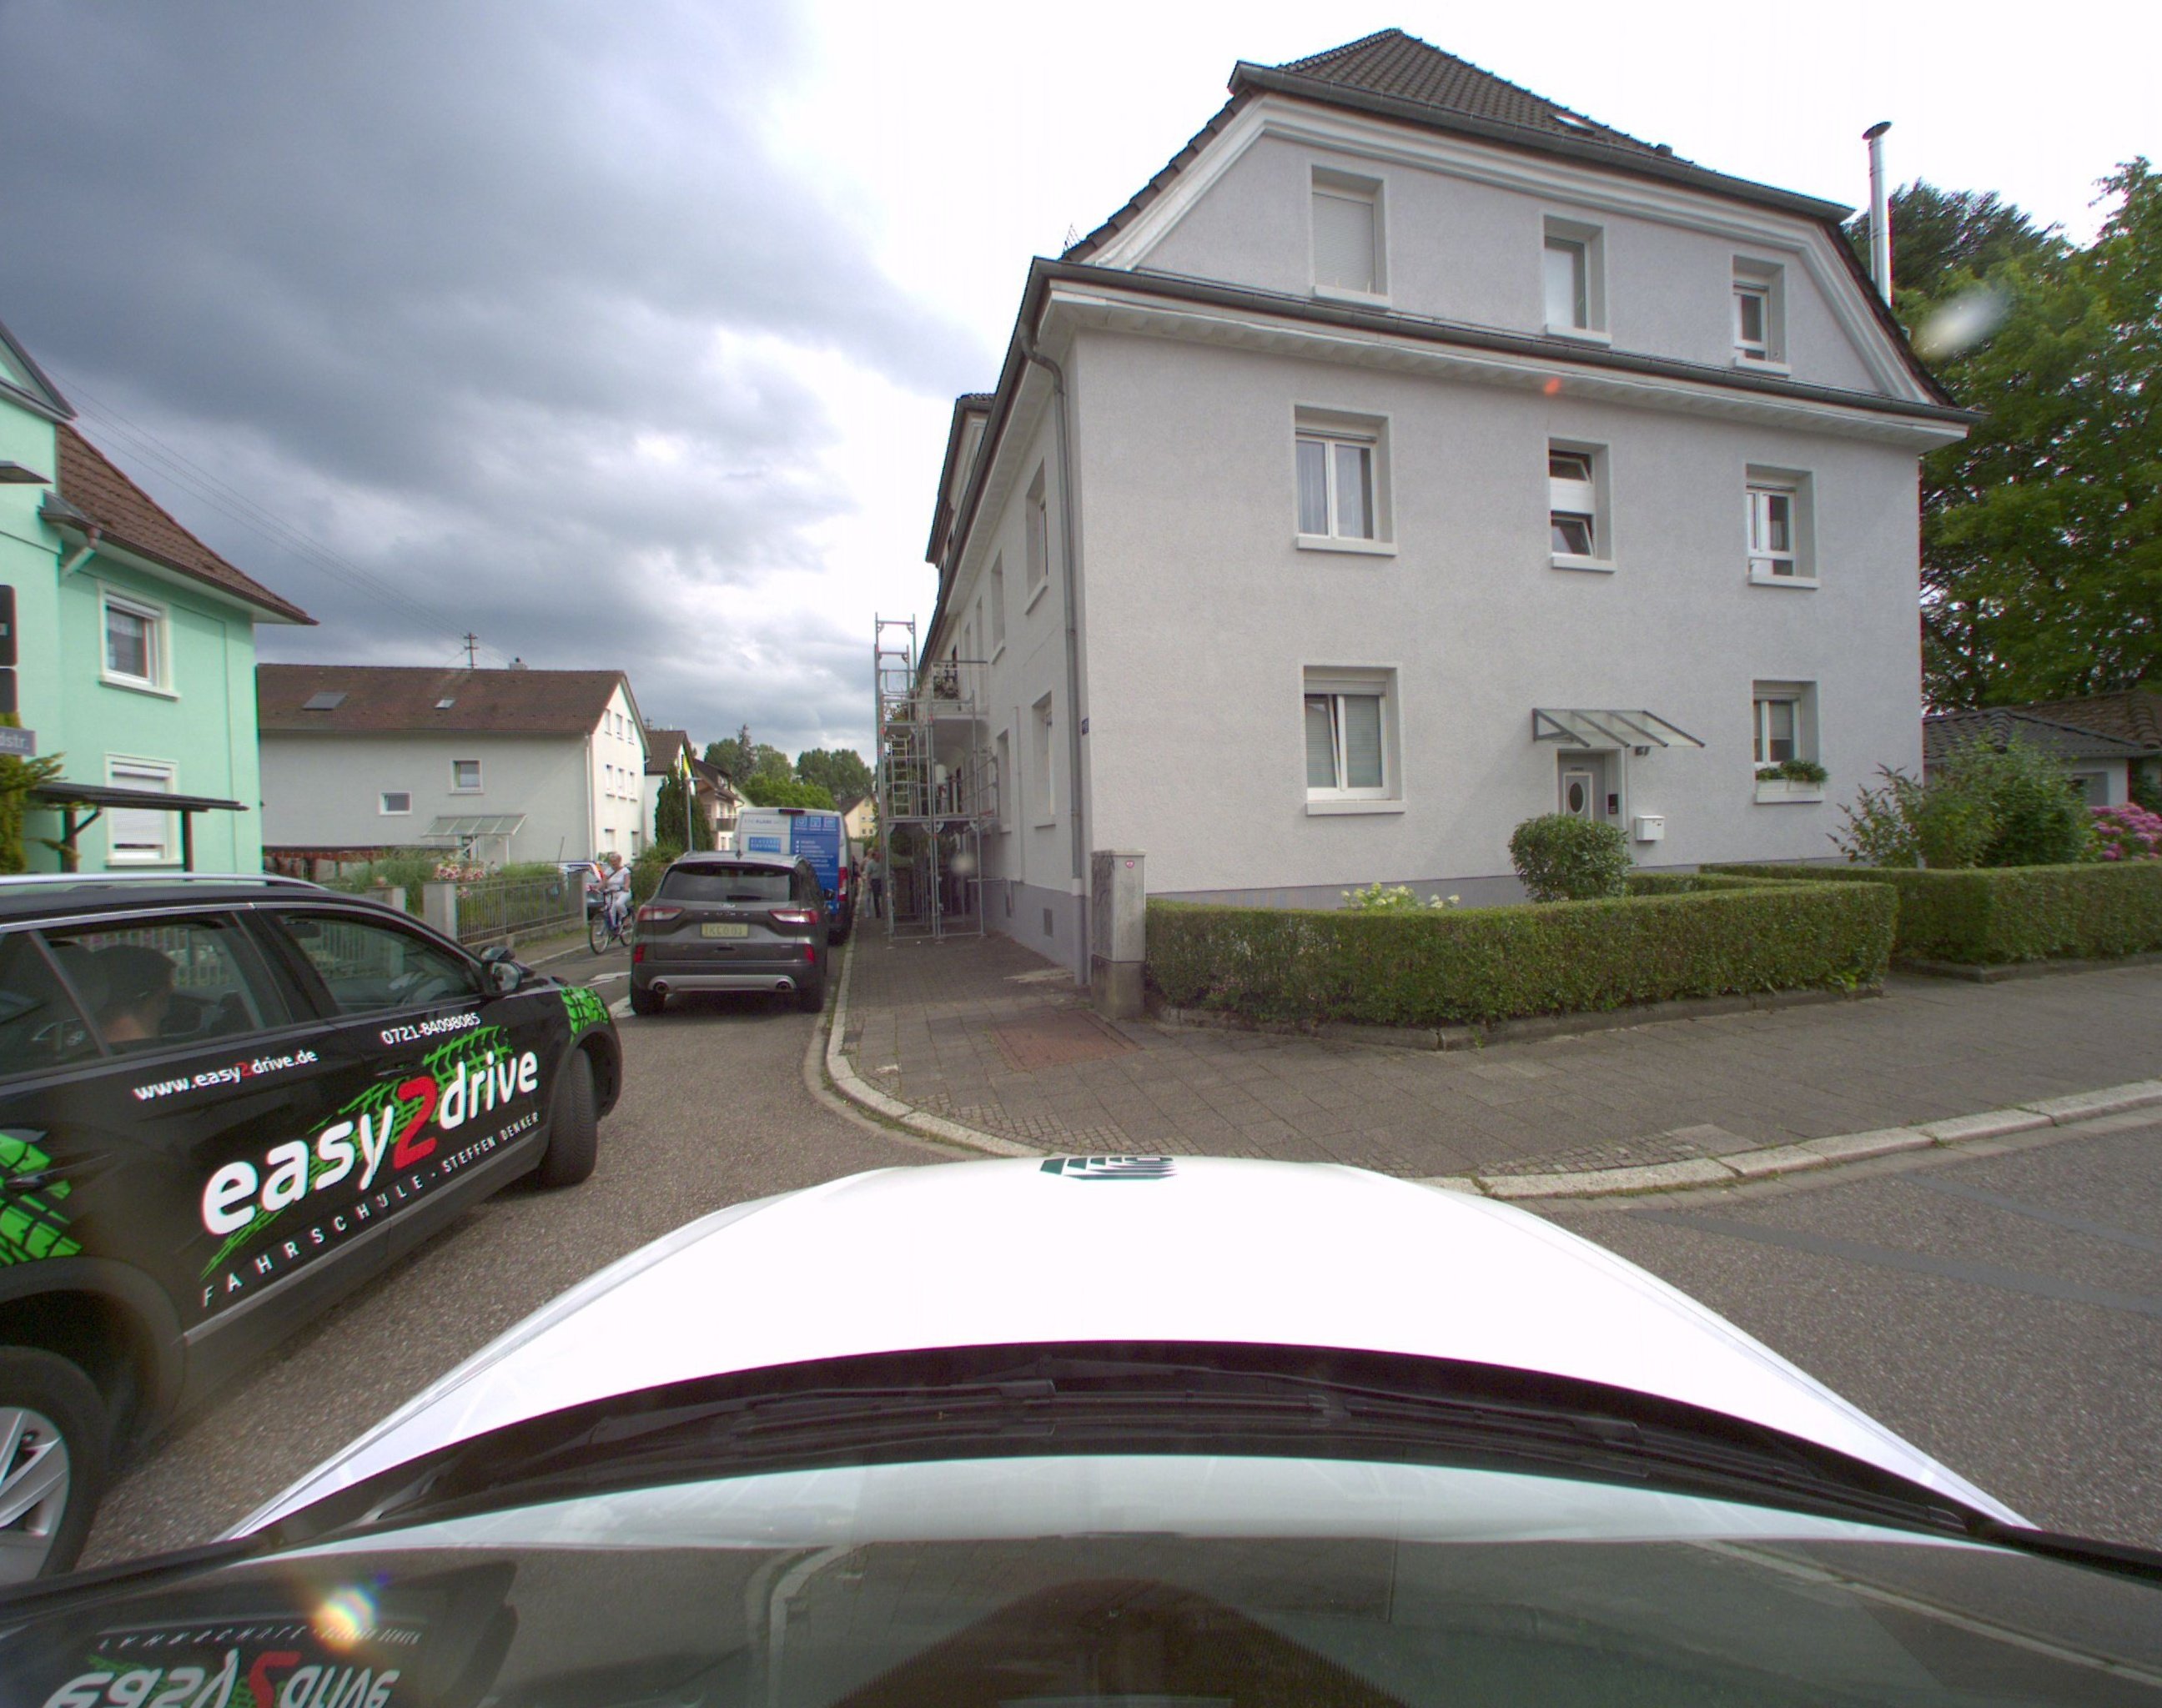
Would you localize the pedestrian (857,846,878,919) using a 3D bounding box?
[{"bbox_3d":[-5.300,0.700,20.239,0.409,1.762,0.510,-2,-1,-18],"label":"pedestrian"}]

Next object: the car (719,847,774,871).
[{"bbox_3d":[-27.441,0.388,66.954,4.000,1.772,1.857,-2,-1,-20],"label":"car"}]

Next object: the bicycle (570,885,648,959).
[{"bbox_3d":[-8.587,1.201,14.904,0.706,1.152,1.863,-3,1,-15],"label":"bicycle"}]

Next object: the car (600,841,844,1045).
[{"bbox_3d":[-3.888,0.778,9.549,1.999,1.726,4.316,-2,1,-17],"label":"car"}]

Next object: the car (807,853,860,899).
[{"bbox_3d":[-10.587,0.874,34.846,1.999,1.749,4.316,-2,1,-17],"label":"car"}]

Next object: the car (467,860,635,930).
[{"bbox_3d":[-14.678,1.095,22.773,3.582,1.667,1.577,-3,0,-19],"label":"car"}]

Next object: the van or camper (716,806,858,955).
[{"bbox_3d":[-5.705,0.424,16.478,2.196,2.459,5.028,-2,1,-15],"label":"van or camper"}]

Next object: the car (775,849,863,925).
[{"bbox_3d":[-7.101,0.798,22.186,1.999,1.772,4.316,-2,1,-17],"label":"car"}]

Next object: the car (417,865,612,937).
[{"bbox_3d":[-13.829,1.106,20.104,3.582,1.500,1.577,-3,0,-19],"label":"car"}]

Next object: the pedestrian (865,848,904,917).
[{"bbox_3d":[-4.801,0.690,19.897,0.595,1.629,0.629,-3,-1,30],"label":"pedestrian"}]

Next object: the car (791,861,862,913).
[{"bbox_3d":[-8.426,1.015,27.041,1.999,1.455,4.316,-2,1,-17],"label":"car"}]

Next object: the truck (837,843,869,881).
[{"bbox_3d":[-17.212,0.566,61.470,2.135,2.657,4.558,-2,1,-17],"label":"truck"}]

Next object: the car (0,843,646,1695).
[{"bbox_3d":[-3.046,0.782,2.492,1.816,1.520,4.029,-2,-1,-10],"label":"car"}]

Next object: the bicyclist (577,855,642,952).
[{"bbox_3d":[-8.610,0.869,14.897,0.697,1.666,0.970,-4,0,-15],"label":"bicyclist"}]

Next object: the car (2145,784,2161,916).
[{"bbox_3d":[17.135,-0.134,10.945,3.992,1.837,1.991,-2,1,-14],"label":"car"}]
